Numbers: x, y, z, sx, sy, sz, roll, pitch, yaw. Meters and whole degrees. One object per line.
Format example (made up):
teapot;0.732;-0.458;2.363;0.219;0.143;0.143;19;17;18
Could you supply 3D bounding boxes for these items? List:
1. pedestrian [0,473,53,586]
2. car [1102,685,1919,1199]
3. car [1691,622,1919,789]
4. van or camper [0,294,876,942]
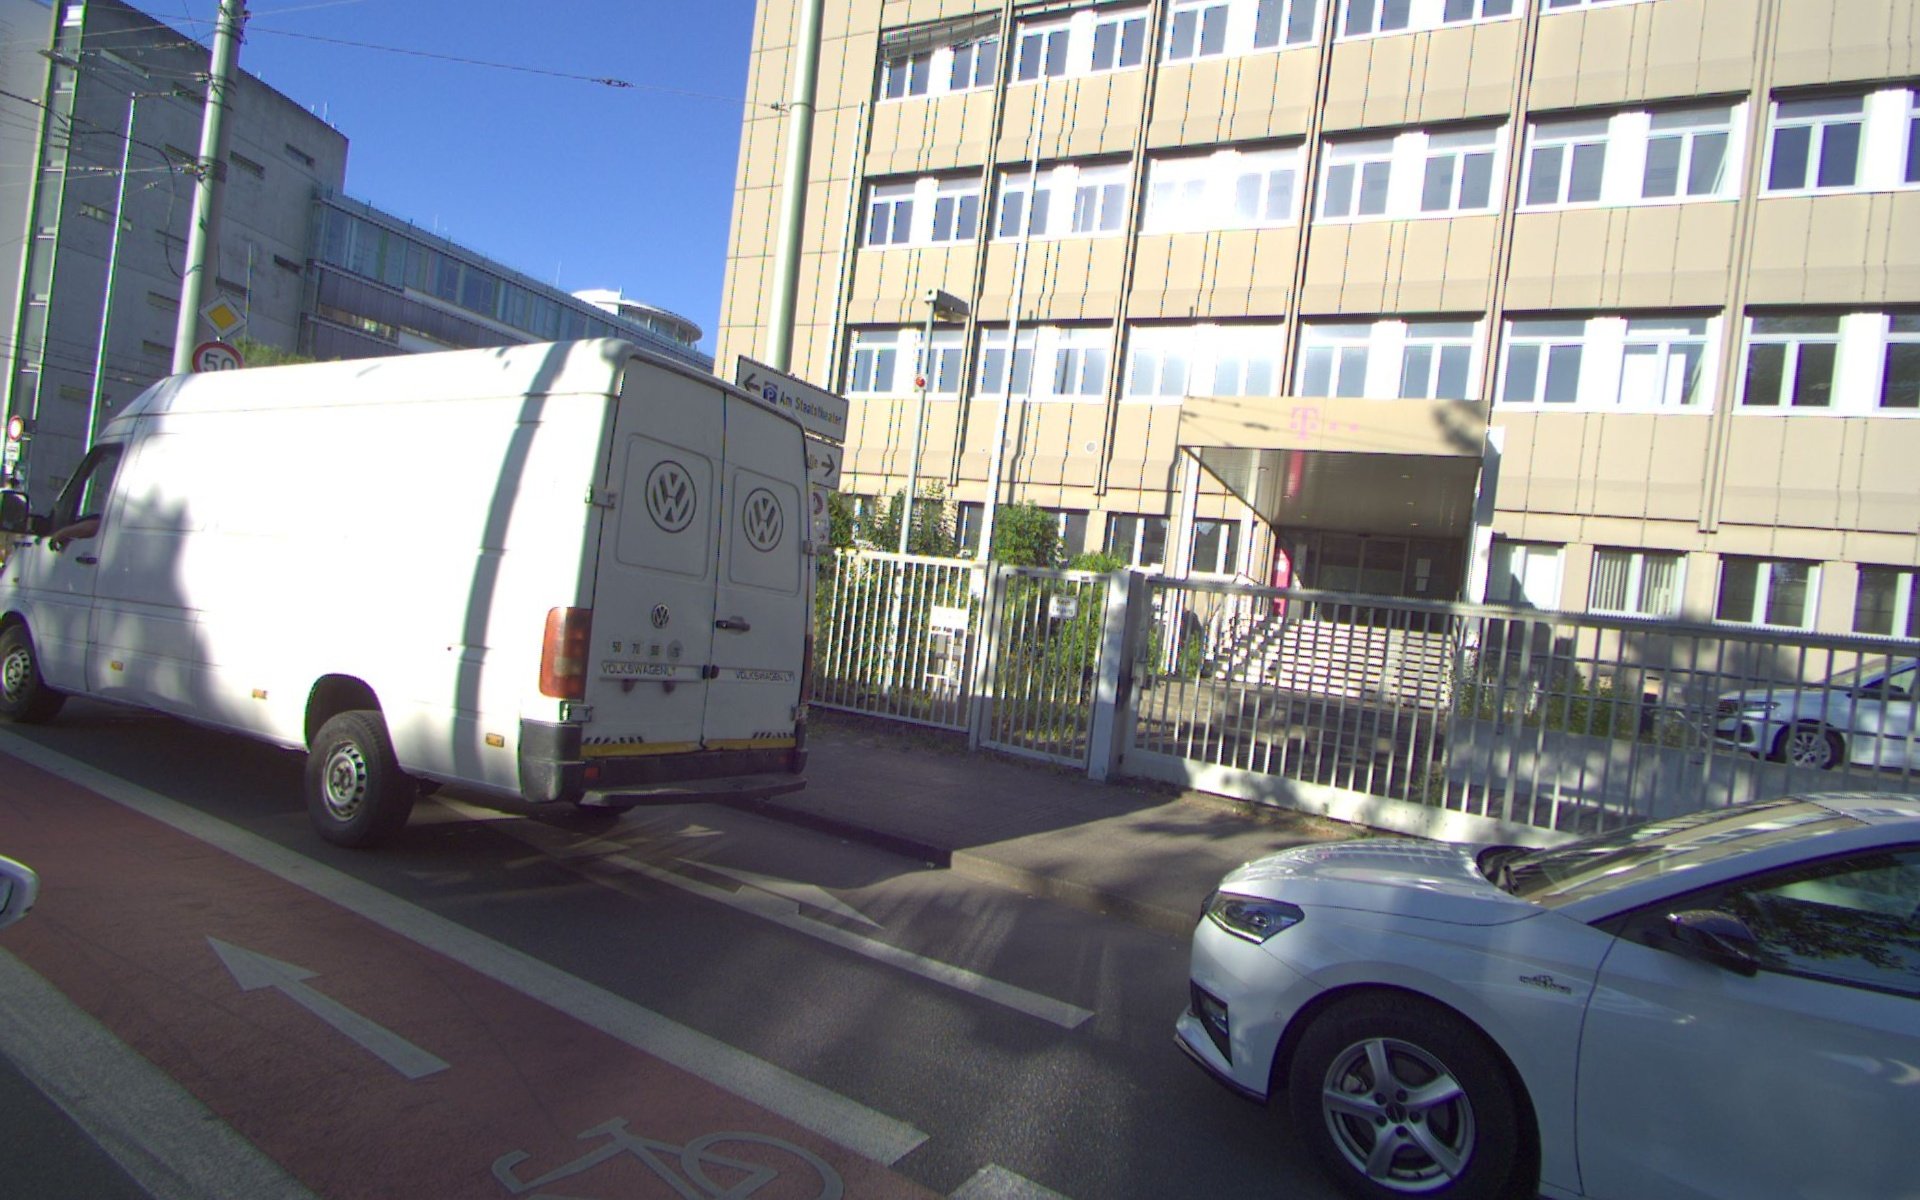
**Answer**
pedestrian;-16.520;-1.244;17.420;1.195;1.846;0.778;7;1;32
car;2.681;1.256;3.014;4.006;1.405;1.705;7;-1;30
car;12.809;1.536;13.247;4.701;1.865;1.998;7;0;27
van or camper;-3.826;-0.156;6.598;6.196;2.748;1.973;7;-1;29
